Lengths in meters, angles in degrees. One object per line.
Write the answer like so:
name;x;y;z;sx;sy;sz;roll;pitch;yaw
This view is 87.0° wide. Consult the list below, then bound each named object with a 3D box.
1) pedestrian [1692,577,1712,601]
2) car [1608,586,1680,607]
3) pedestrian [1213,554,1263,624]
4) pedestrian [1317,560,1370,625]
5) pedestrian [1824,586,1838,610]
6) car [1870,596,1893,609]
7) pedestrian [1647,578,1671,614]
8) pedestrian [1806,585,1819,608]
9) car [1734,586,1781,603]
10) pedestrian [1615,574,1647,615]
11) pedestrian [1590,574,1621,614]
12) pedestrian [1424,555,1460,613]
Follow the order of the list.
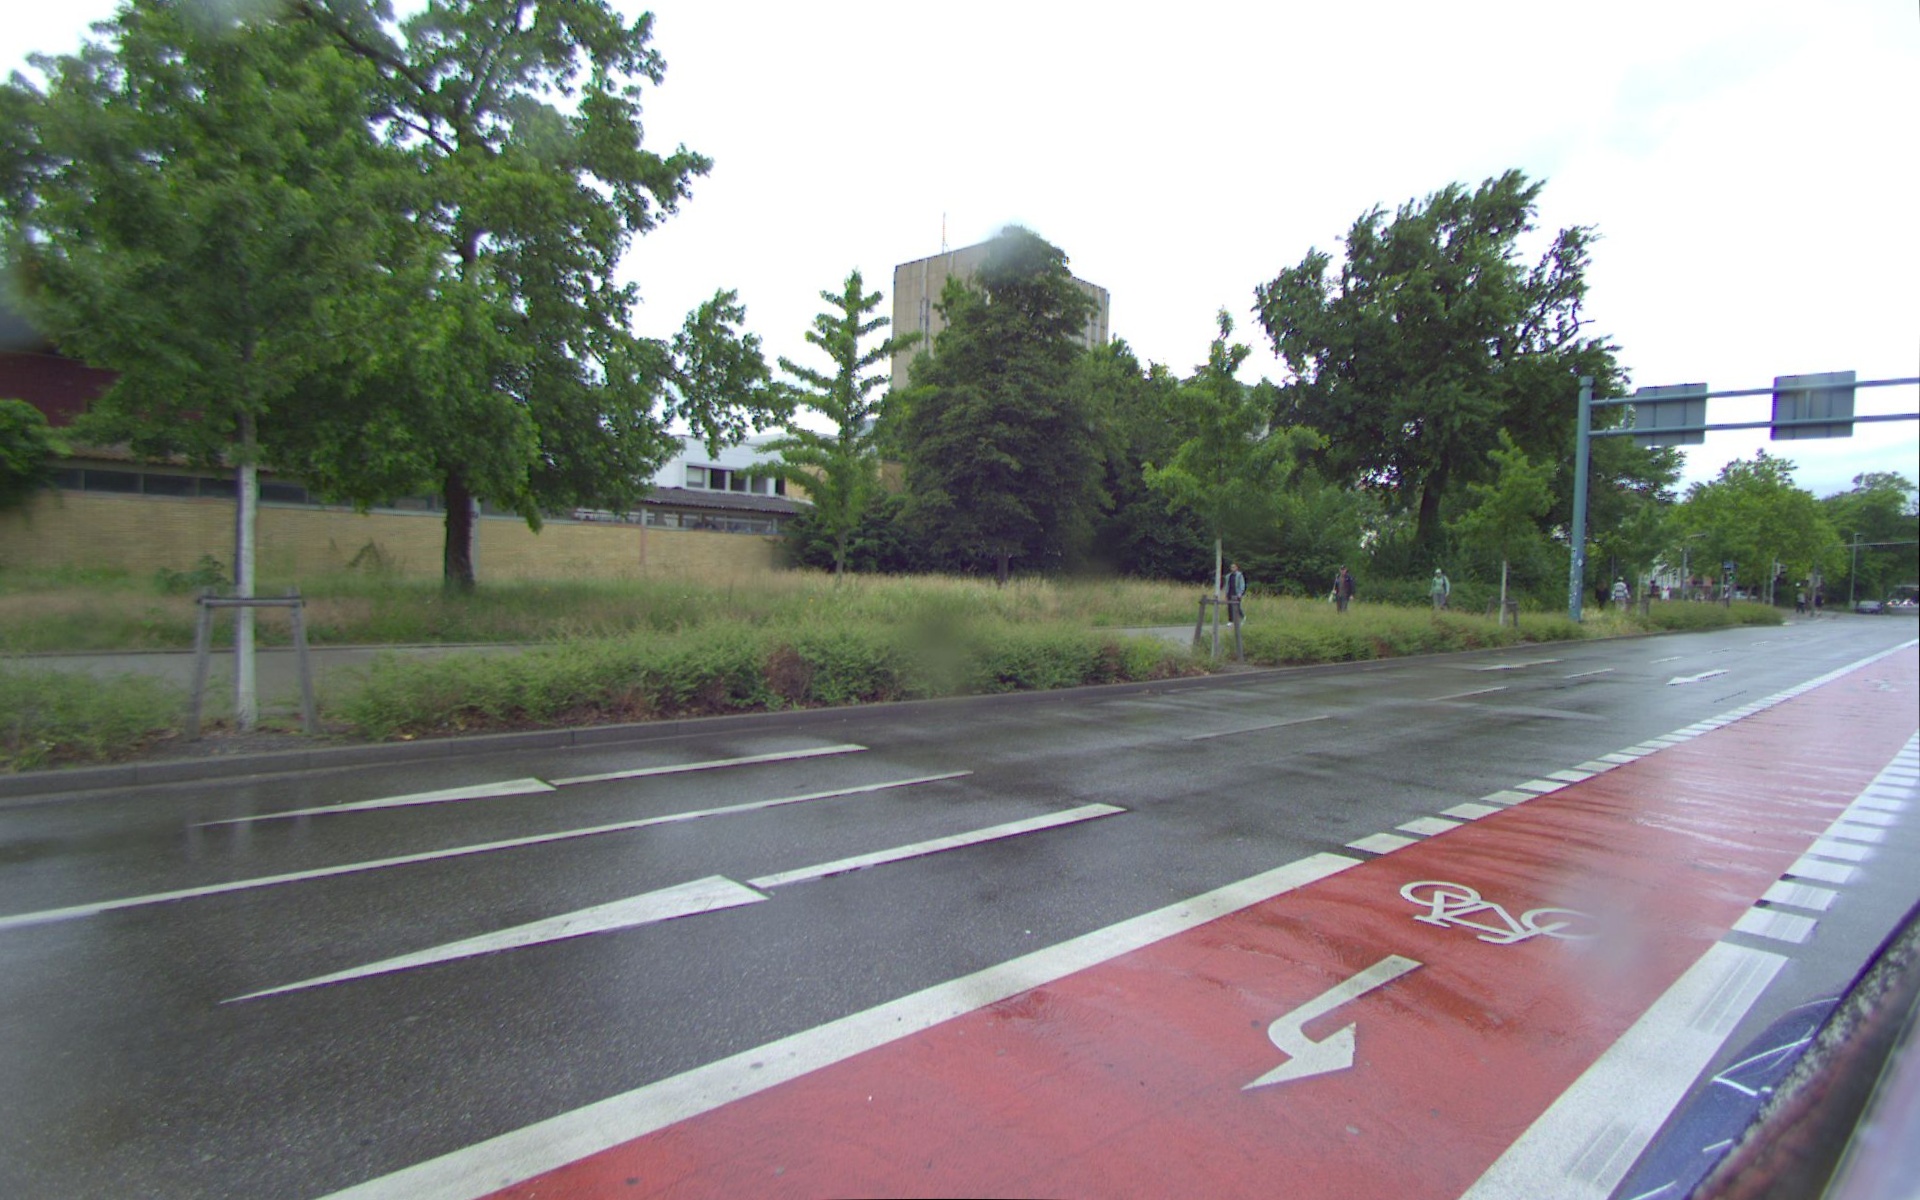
pedestrian;51.323;-0.757;70.021;0.868;1.627;0.856;3;2;24
car;53.223;-0.264;78.810;4.376;1.353;1.746;4;5;43
pedestrian;7.399;-0.301;26.932;0.813;1.819;0.936;1;2;-37
pedestrian;10.844;-0.219;28.608;1.026;1.769;0.936;1;2;-37
pedestrian;69.950;-0.163;81.281;0.618;1.847;0.780;2;1;24
car;96.294;0.252;105.709;1.657;1.282;4.041;4;2;44
pedestrian;37.243;-0.228;53.926;0.835;1.882;0.732;1;2;-37
pedestrian;68.685;-0.276;81.551;0.620;1.847;0.778;3;2;32
car;97.516;-0.691;123.787;4.406;1.895;1.615;3;2;39
pedestrian;29.275;-0.232;44.159;0.814;1.743;0.935;4;-2;-39
pedestrian;28.804;-0.253;45.155;0.814;1.725;0.935;4;-2;-39
pedestrian;17.083;-0.571;35.860;0.813;2.038;0.793;1;2;-37
